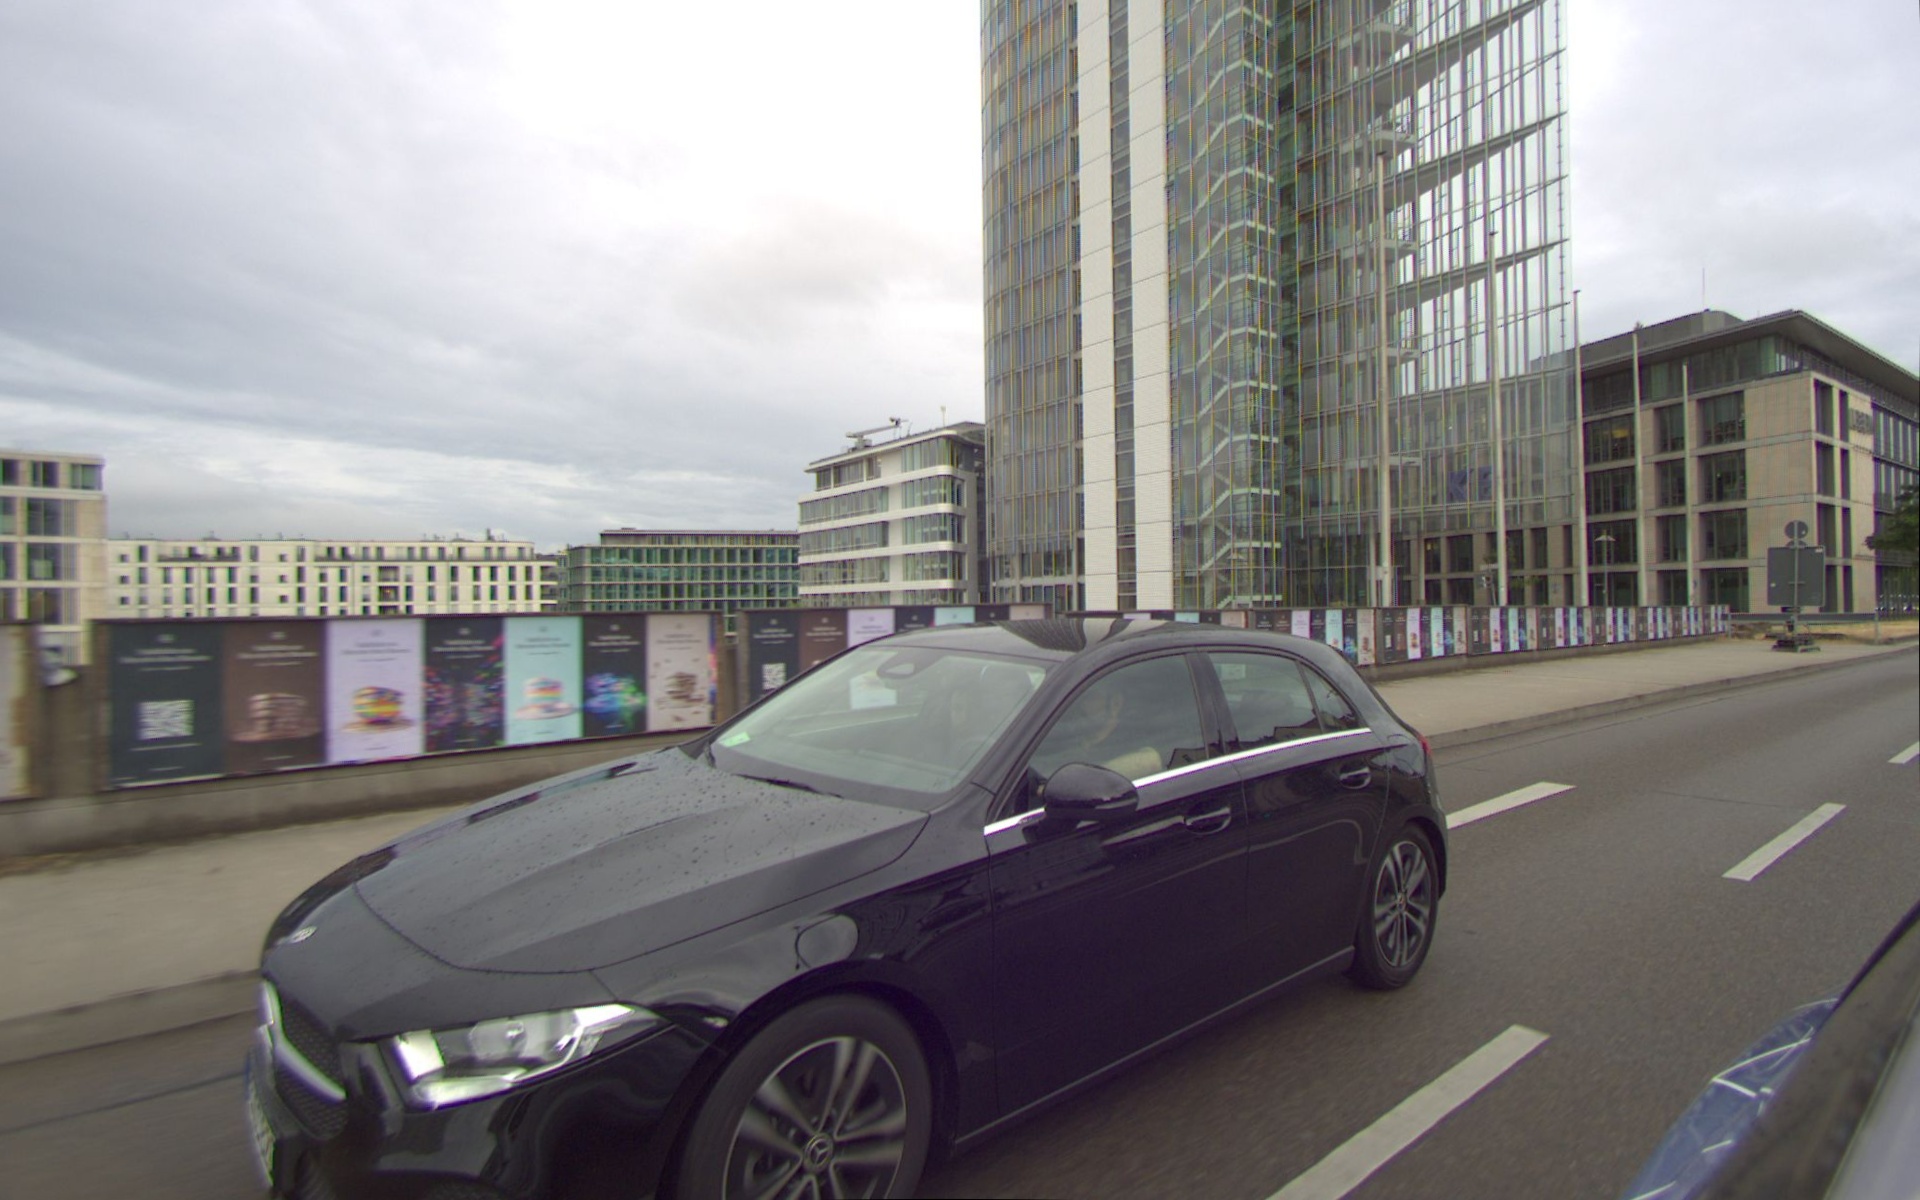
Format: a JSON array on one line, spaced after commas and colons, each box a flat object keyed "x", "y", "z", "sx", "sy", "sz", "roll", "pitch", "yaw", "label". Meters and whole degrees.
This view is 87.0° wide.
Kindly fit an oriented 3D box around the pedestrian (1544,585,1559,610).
[{"x": 42.169, "y": -0.210, "z": 72.169, "sx": 0.621, "sy": 1.767, "sz": 0.637, "roll": -1, "pitch": 0, "yaw": -16, "label": "pedestrian"}]

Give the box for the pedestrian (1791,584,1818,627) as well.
[{"x": 32.373, "y": 0.204, "z": 38.814, "sx": 0.537, "sy": 1.632, "sz": 0.660, "roll": 1, "pitch": -1, "yaw": -37, "label": "pedestrian"}]

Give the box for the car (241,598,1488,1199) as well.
[{"x": 0.098, "y": 0.735, "z": 3.513, "sx": 4.083, "sy": 1.393, "sz": 1.726, "roll": -2, "pitch": 1, "yaw": -41, "label": "car"}]
